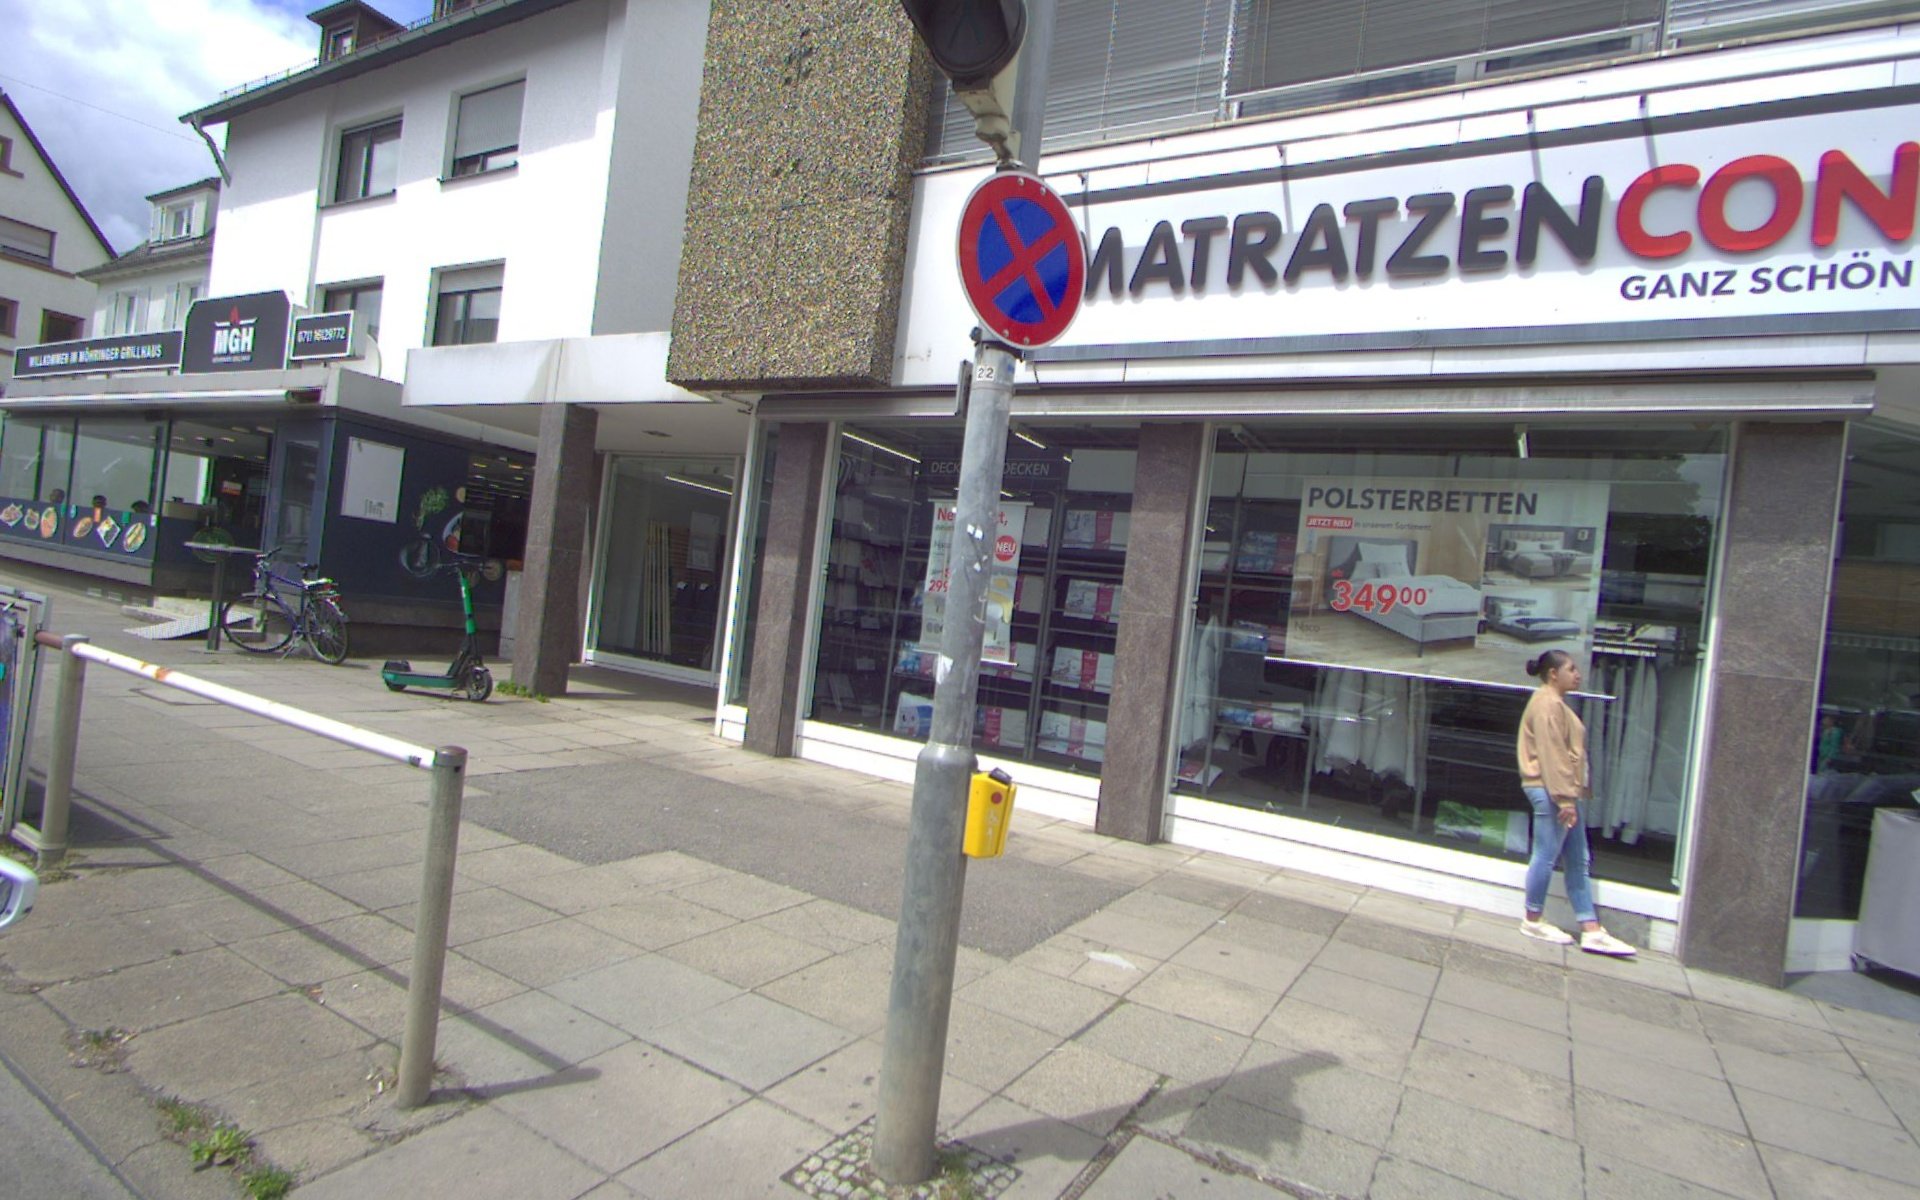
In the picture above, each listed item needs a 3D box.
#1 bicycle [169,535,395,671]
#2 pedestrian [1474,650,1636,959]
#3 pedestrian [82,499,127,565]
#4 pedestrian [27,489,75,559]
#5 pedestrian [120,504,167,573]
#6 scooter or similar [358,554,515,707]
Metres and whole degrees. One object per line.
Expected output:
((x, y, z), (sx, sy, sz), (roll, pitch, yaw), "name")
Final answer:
((-7.291, 0.024, 10.818), (2.256, 1.159, 0.556), (7, 1, 13), "bicycle")
((3.128, 1.031, 5.292), (0.493, 1.479, 0.502), (7, 3, 44), "pedestrian")
((-14.692, -1.170, 17.269), (0.361, 1.065, 0.415), (7, 1, 30), "pedestrian")
((-14.766, -1.226, 16.336), (0.361, 1.065, 0.415), (7, 1, 30), "pedestrian")
((-13.545, -1.016, 16.688), (0.361, 1.065, 0.415), (7, 1, 30), "pedestrian")
((-4.830, 0.272, 9.299), (1.222, 1.270, 0.341), (6, 2, 5), "scooter or similar")
